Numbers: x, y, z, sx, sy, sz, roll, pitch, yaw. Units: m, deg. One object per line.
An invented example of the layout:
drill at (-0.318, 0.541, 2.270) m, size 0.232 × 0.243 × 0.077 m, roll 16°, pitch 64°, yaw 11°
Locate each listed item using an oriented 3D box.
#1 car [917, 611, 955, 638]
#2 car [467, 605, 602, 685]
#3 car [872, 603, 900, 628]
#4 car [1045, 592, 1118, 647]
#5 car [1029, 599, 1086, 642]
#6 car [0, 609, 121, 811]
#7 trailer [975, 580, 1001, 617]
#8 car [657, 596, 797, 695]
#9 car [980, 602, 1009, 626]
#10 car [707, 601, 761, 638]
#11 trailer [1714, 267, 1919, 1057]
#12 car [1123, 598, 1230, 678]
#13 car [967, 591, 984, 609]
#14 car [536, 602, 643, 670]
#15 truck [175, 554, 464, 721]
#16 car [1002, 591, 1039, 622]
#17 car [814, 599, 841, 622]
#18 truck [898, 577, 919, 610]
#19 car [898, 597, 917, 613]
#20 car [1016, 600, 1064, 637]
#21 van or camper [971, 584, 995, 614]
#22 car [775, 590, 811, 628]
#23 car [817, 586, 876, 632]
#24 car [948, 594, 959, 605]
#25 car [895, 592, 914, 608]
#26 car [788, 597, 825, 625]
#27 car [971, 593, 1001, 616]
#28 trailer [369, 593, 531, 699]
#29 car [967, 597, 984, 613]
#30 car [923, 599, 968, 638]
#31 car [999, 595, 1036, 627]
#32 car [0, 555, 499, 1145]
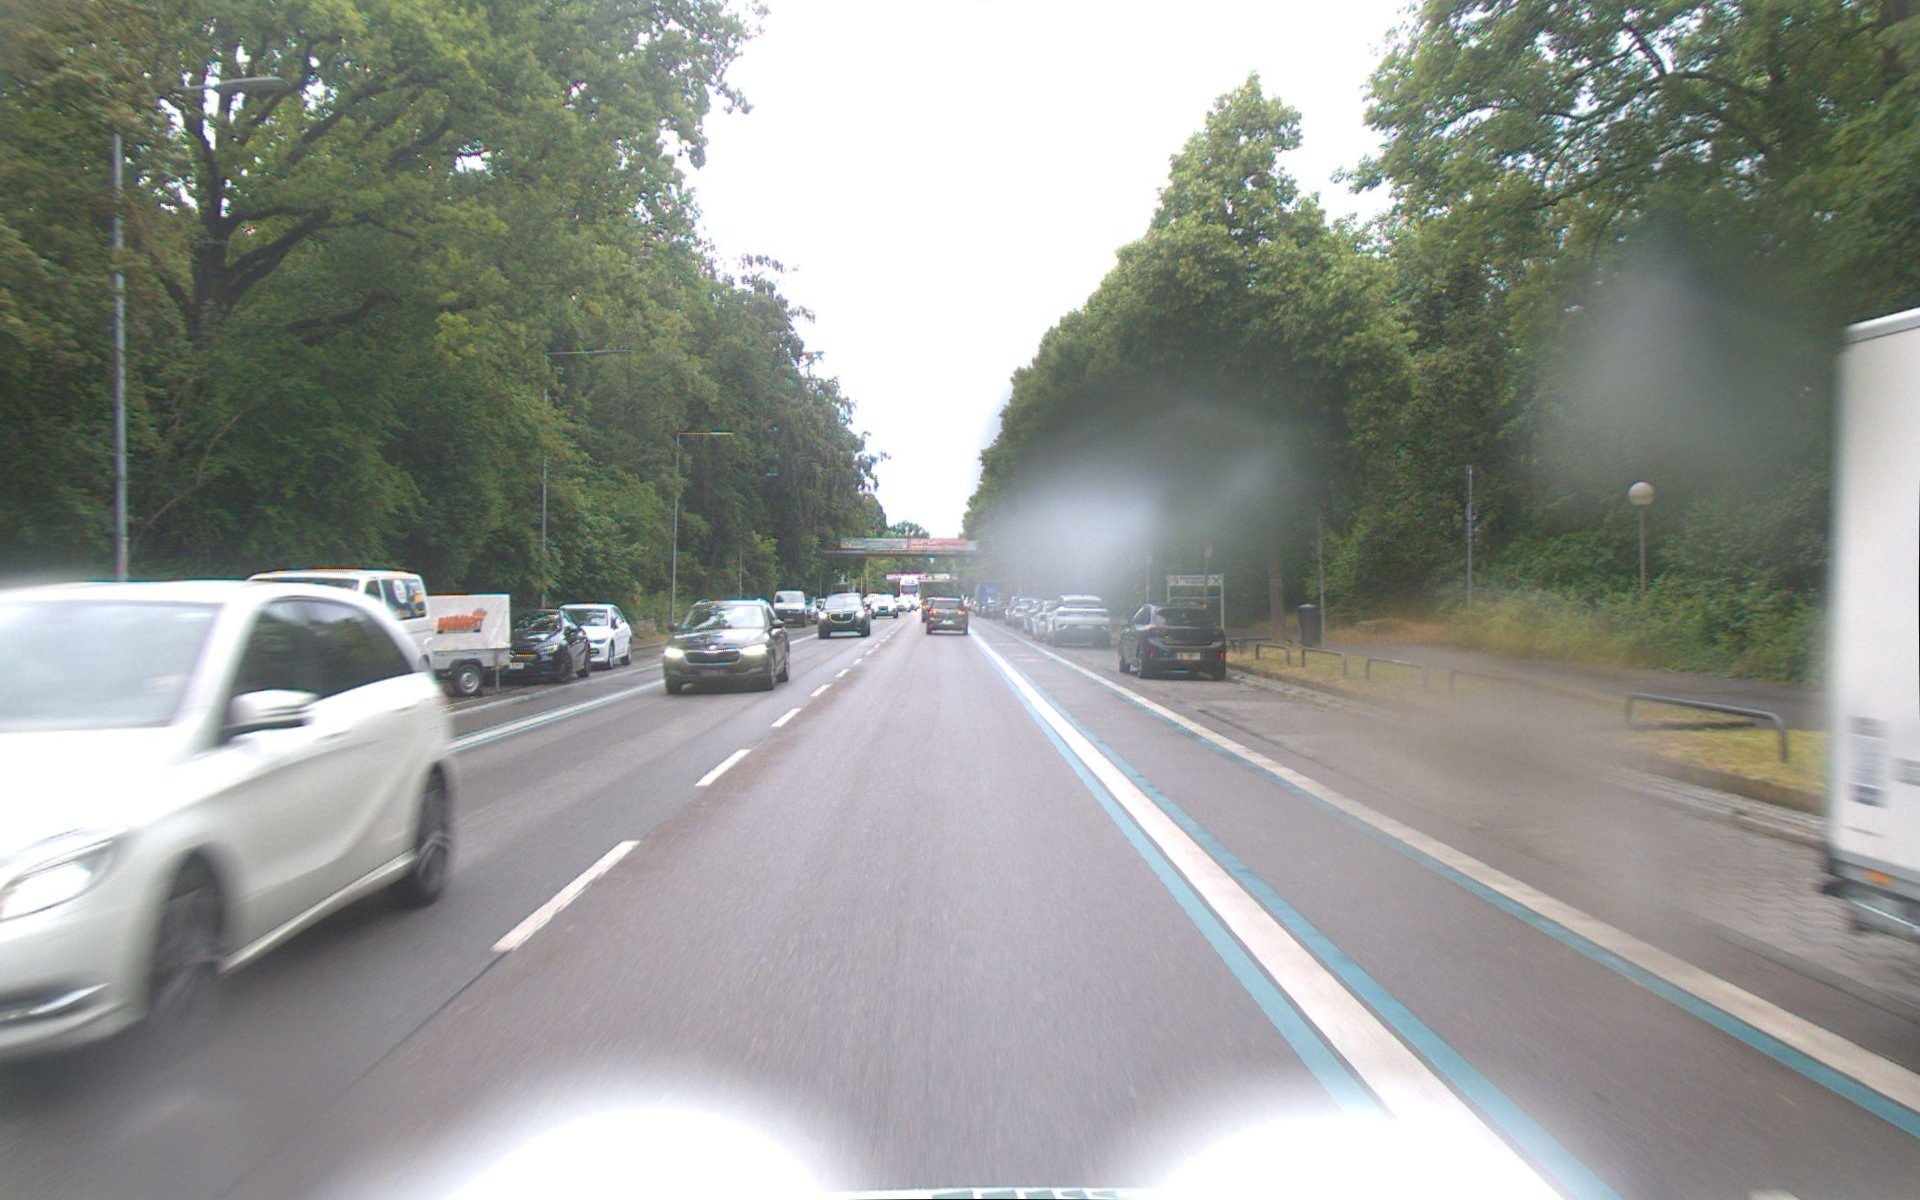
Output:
car at (-1.469, 1.440, 99.172) m, size 2.097 × 1.518 × 4.496 m, roll 1°, pitch 0°, yaw -3°
car at (-8.290, 0.829, 32.608) m, size 1.785 × 1.423 × 4.442 m, roll 0°, pitch 0°, yaw -4°
car at (-5.200, 1.066, 117.095) m, size 1.914 × 1.667 × 4.443 m, roll 0°, pitch 0°, yaw -2°
car at (3.869, 0.592, 53.378) m, size 1.953 × 1.691 × 4.562 m, roll 0°, pitch 0°, yaw -1°
car at (3.475, 0.714, 59.427) m, size 1.664 × 1.479 × 3.944 m, roll 1°, pitch 0°, yaw -2°
car at (-8.127, 0.842, 11.936) m, size 1.770 × 1.524 × 4.752 m, roll -1°, pitch 0°, yaw -1°
trailer at (2.134, -0.115, 127.468) m, size 1.913 × 2.807 × 4.006 m, roll 0°, pitch 0°, yaw -1°
car at (-3.836, 0.709, 27.890) m, size 1.729 × 1.483 × 4.495 m, roll -2°, pitch 0°, yaw -1°
car at (2.343, 0.927, 112.725) m, size 1.788 × 1.529 × 4.569 m, roll 1°, pitch 0°, yaw -1°
car at (-9.199, 0.775, 67.592) m, size 1.655 × 1.429 × 4.027 m, roll 1°, pitch 0°, yaw 0°
trailer at (4.186, 0.214, 4.843) m, size 1.944 × 2.610 × 3.997 m, roll 0°, pitch 0°, yaw -4°
car at (4.305, 0.721, 33.377) m, size 1.660 × 1.502 × 3.998 m, roll 0°, pitch 0°, yaw 0°
car at (1.806, 0.010, 198.008) m, size 1.887 × 2.057 × 4.663 m, roll 1°, pitch 0°, yaw -1°
car at (-8.749, 0.819, 39.373) m, size 1.719 × 1.460 × 4.355 m, roll 0°, pitch 0°, yaw -2°
truck at (-8.629, 0.445, 22.857) m, size 2.050 × 2.049 × 5.158 m, roll 0°, pitch 0°, yaw -1°
car at (3.259, 0.315, 89.532) m, size 1.718 × 1.625 × 4.739 m, roll 0°, pitch 0°, yaw -1°
car at (-9.414, 0.728, 117.995) m, size 1.753 × 1.508 × 3.980 m, roll -1°, pitch 0°, yaw -3°
truck at (-6.624, -0.858, 213.402) m, size 2.466 × 4.117 × 4.915 m, roll -2°, pitch 0°, yaw -1°
car at (-5.486, 0.544, 174.489) m, size 1.921 × 1.645 × 4.465 m, roll -1°, pitch 0°, yaw -1°
car at (3.353, 0.749, 70.141) m, size 1.664 × 1.479 × 4.096 m, roll 1°, pitch 0°, yaw -2°
van or camper at (2.154, -0.084, 158.484) m, size 2.001 × 2.777 × 6.898 m, roll 1°, pitch 0°, yaw -2°
car at (-9.315, 0.460, 92.389) m, size 1.935 × 2.040 × 5.013 m, roll 1°, pitch 0°, yaw -5°
car at (-4.328, 0.331, 63.877) m, size 1.996 × 1.678 × 4.476 m, roll -1°, pitch 0°, yaw -1°
car at (-1.022, -0.042, 258.554) m, size 1.696 × 1.611 × 4.036 m, roll -1°, pitch 0°, yaw -1°
car at (-5.374, -0.002, 159.983) m, size 1.740 × 1.491 × 4.061 m, roll -2°, pitch 0°, yaw -2°
car at (-9.370, 0.631, 101.307) m, size 1.969 × 1.633 × 4.778 m, roll 0°, pitch 0°, yaw -2°
car at (1.889, 0.299, 121.676) m, size 1.862 × 1.574 × 4.752 m, roll 1°, pitch 0°, yaw -3°
trailer at (-8.482, 0.723, 27.611) m, size 1.325 × 1.686 × 2.257 m, roll 0°, pitch 0°, yaw 37°
car at (1.627, 0.523, 179.799) m, size 1.720 × 1.617 × 4.497 m, roll 1°, pitch 0°, yaw -1°
car at (-0.570, 0.740, 67.901) m, size 1.781 × 1.534 × 4.139 m, roll 1°, pitch 0°, yaw 0°
car at (2.865, 0.552, 83.480) m, size 1.663 × 1.540 × 4.469 m, roll 1°, pitch 0°, yaw 0°
car at (-3.286, 0.691, 6.630) m, size 1.749 × 1.607 × 4.257 m, roll -1°, pitch 0°, yaw -2°
